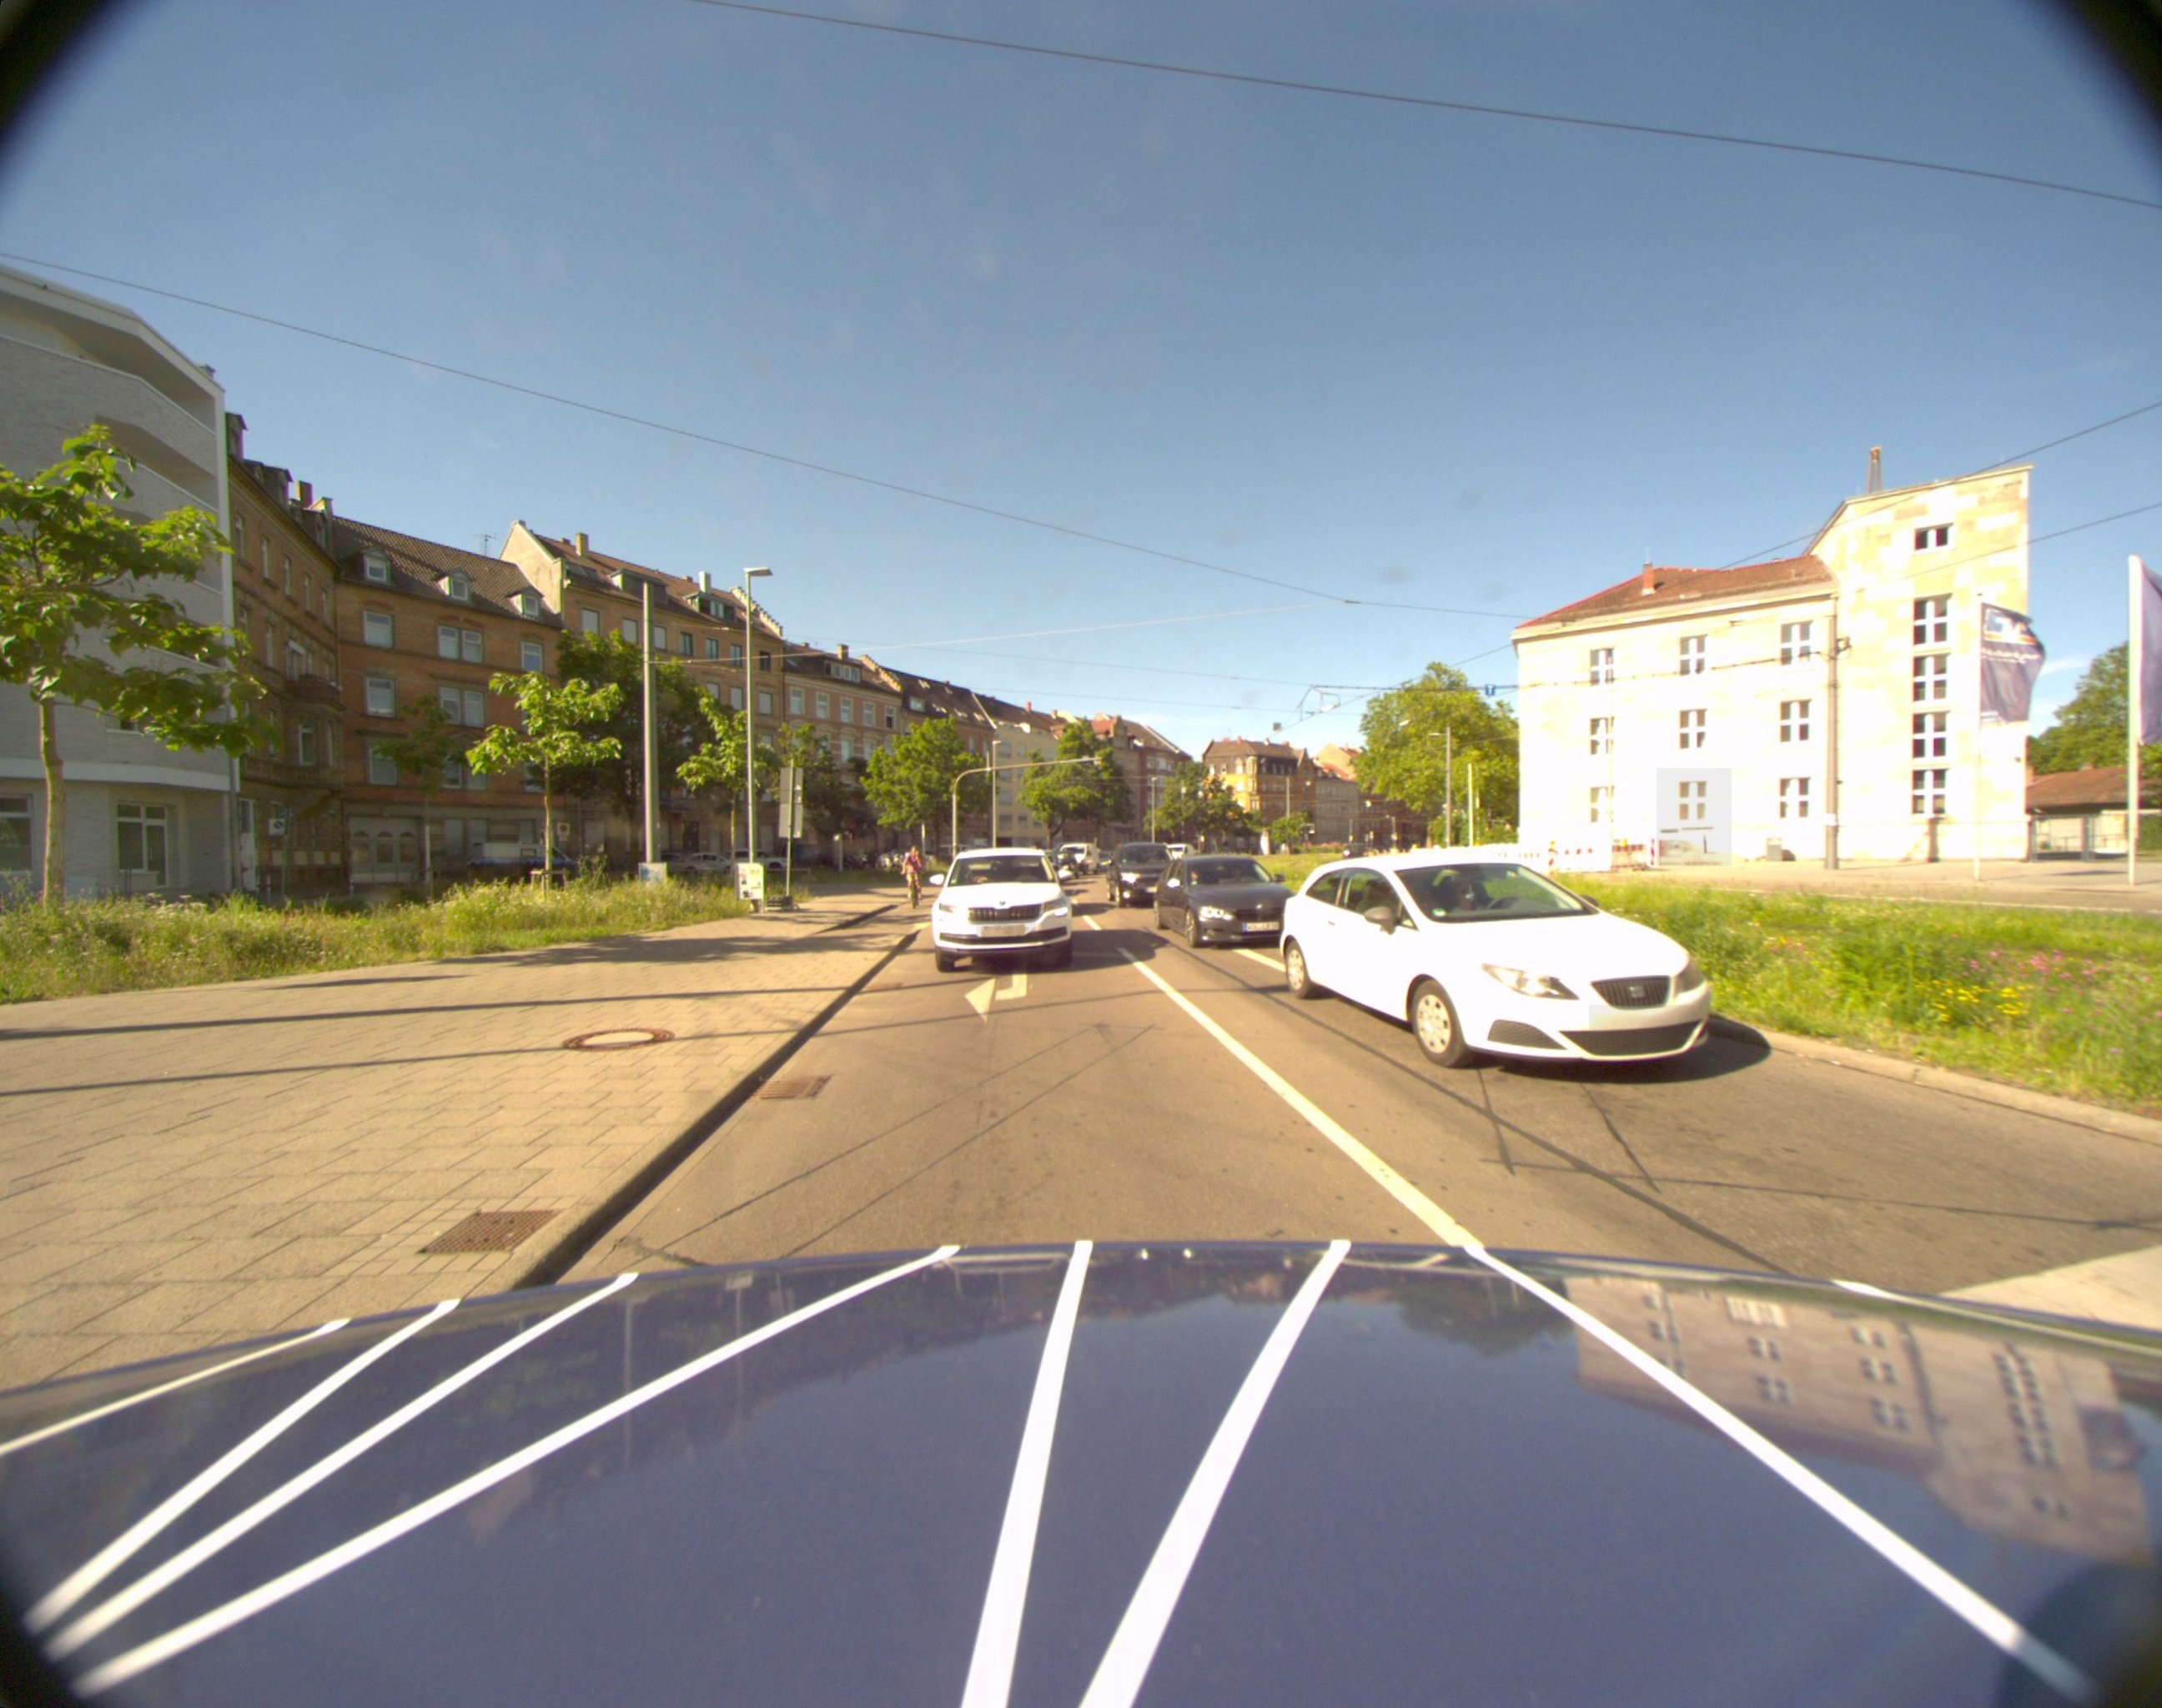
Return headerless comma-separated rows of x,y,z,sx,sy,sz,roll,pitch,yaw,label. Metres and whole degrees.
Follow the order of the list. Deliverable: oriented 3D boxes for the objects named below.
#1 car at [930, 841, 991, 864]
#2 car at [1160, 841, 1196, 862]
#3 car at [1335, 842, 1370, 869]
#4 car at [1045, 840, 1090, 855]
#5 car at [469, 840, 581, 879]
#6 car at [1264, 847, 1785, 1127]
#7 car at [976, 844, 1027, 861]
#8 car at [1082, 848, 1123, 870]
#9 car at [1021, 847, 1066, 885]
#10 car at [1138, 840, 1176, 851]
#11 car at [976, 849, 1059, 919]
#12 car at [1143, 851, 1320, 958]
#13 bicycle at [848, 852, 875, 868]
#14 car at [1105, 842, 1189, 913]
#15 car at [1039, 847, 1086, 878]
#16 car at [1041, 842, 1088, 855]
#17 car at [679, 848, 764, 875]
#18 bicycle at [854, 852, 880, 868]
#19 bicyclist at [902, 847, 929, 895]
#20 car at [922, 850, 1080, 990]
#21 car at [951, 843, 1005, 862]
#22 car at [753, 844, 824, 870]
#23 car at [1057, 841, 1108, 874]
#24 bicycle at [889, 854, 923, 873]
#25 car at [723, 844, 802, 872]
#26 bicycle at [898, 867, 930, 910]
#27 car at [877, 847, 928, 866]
-9.882,-0.160,62.594,4.792,1.761,1.731,-1,1,-3,car
7.591,-0.212,59.081,1.870,1.547,4.005,-1,1,21,car
18.238,0.056,51.139,1.767,1.740,4.004,-1,1,13,car
-1.404,-0.699,78.599,4.395,1.453,2.001,-1,1,7,car
-31.508,0.266,43.188,1.994,2.100,4.651,0,1,34,car
2.970,0.711,6.147,1.669,1.422,3.833,-4,1,-5,car
-7.070,-0.164,68.075,4.399,1.453,1.999,-1,1,-4,car
1.587,0.323,54.039,1.871,1.439,3.913,-1,1,18,car
-1.641,0.503,34.131,1.874,1.547,3.998,-1,1,-2,car
9.352,-1.045,93.373,4.399,1.203,1.999,-1,1,-3,car
-1.643,0.680,19.501,1.874,1.547,3.997,-1,1,-5,car
2.337,0.704,13.046,1.841,1.422,4.481,-2,1,-4,car
-14.692,0.416,50.830,1.758,1.018,0.453,-1,1,20,bicycle
1.697,0.546,20.913,1.768,1.675,4.326,-2,1,-2,car
-0.976,0.417,41.966,1.872,1.605,3.911,-1,1,9,car
-1.614,-0.556,75.674,4.395,1.227,2.001,-1,1,7,car
-20.912,0.419,44.342,3.998,1.455,1.999,-1,1,-3,car
-14.591,0.401,51.742,1.758,1.018,0.453,-1,1,20,bicycle
-4.928,0.500,22.667,0.696,1.369,0.737,1,3,-6,bicyclist
-1.167,0.798,11.530,1.874,1.621,4.335,-2,1,-5,car
-8.856,-0.135,65.507,4.399,1.498,1.999,-1,1,-4,car
-19.516,0.179,50.859,3.998,1.652,1.999,-1,1,-3,car
0.151,0.204,48.378,1.871,1.970,4.660,-1,1,18,car
-9.929,0.546,43.078,1.764,1.018,0.567,-2,1,-32,bicycle
-19.505,0.225,46.731,3.998,1.652,1.999,-1,1,-3,car
-4.905,0.994,22.455,0.697,1.099,2.009,1,2,-6,bicycle
-13.450,0.188,57.397,3.464,1.324,1.731,-1,1,-3,car
